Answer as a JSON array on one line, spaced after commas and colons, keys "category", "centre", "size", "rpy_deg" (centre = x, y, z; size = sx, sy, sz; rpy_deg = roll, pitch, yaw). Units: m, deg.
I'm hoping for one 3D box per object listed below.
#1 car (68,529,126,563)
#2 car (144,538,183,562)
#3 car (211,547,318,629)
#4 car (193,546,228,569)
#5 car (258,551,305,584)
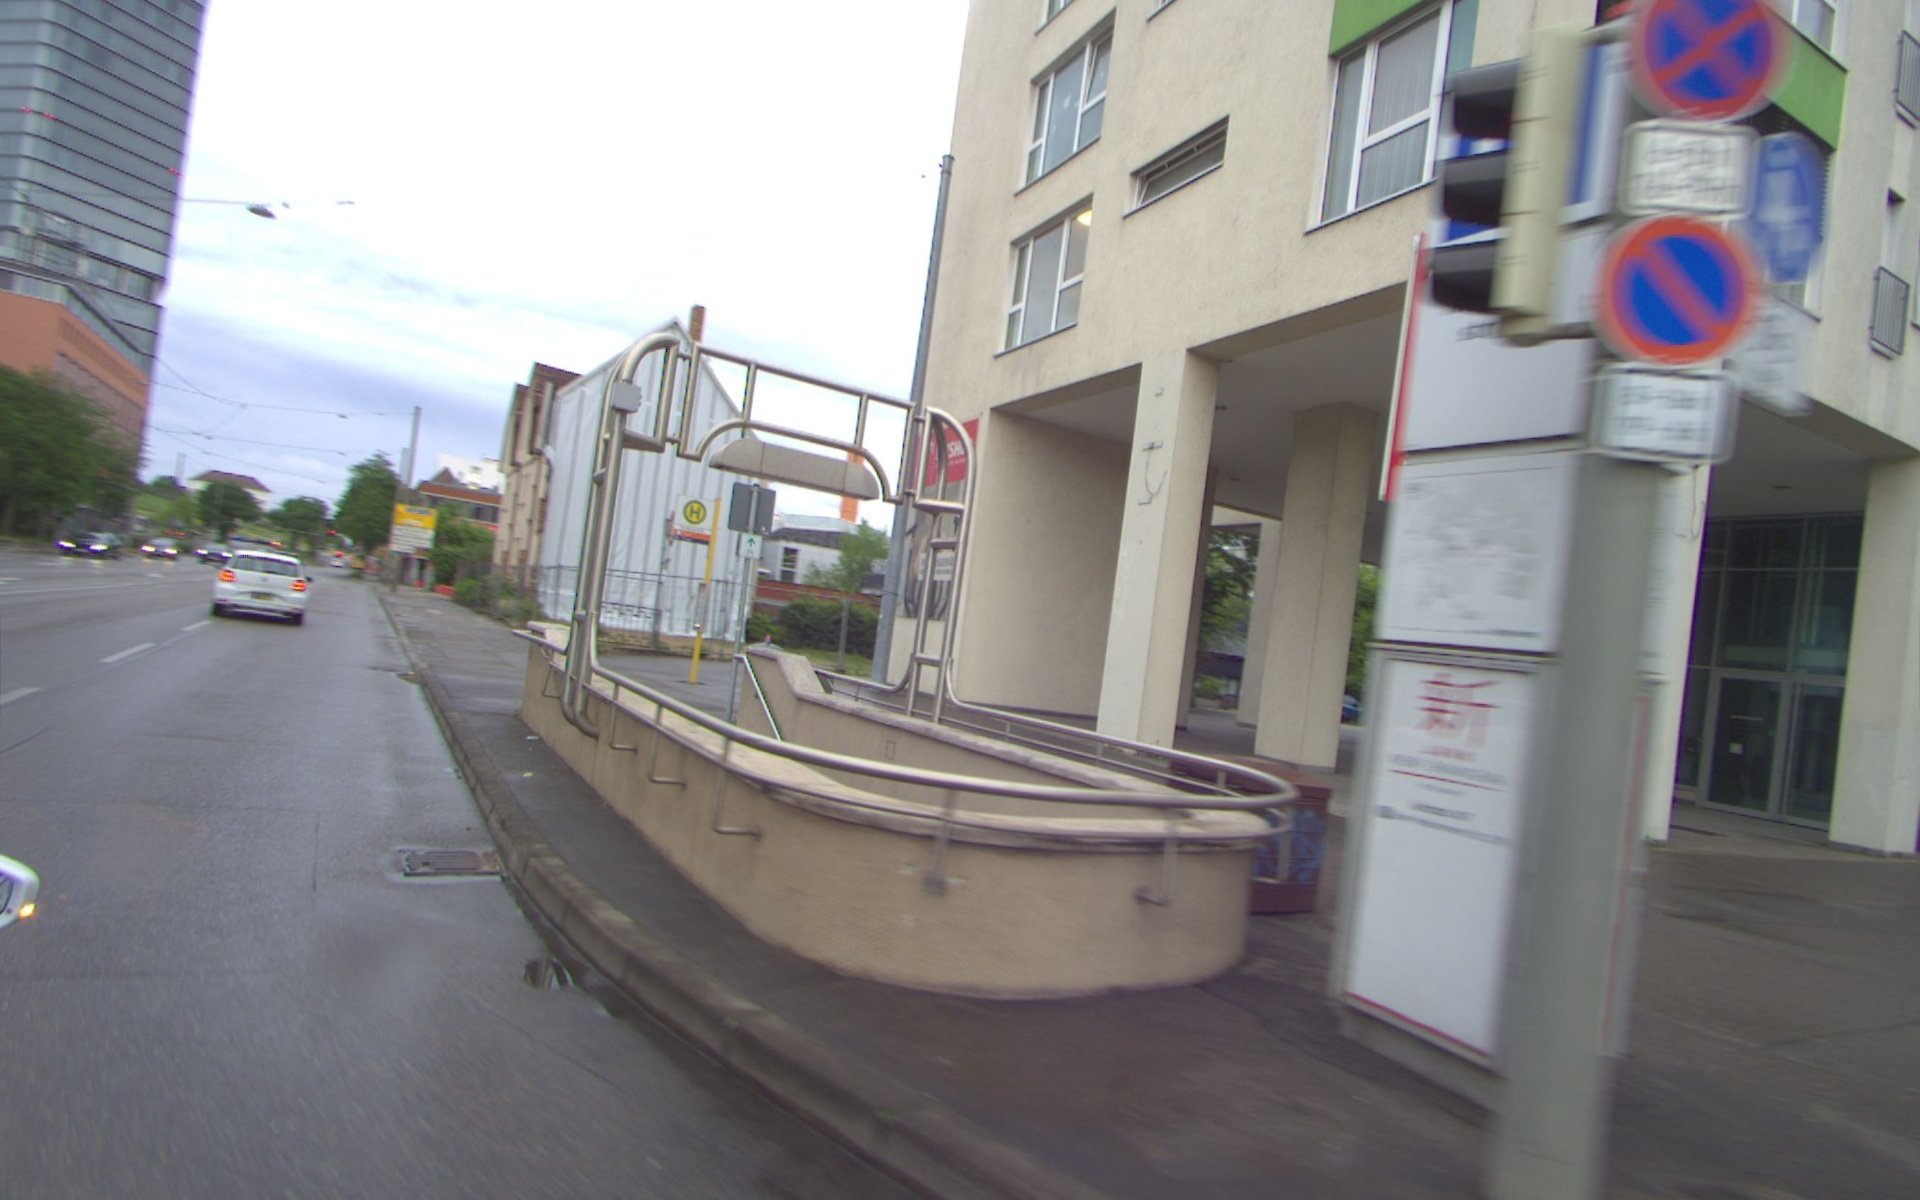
[{"category": "car", "centre": [-46.717, -2.874, 54.550], "size": [1.723, 1.493, 4.657], "rpy_deg": [8, -3, -34]}, {"category": "car", "centre": [-60.086, -3.764, 75.964], "size": [1.695, 1.585, 4.002], "rpy_deg": [6, -1, -31]}, {"category": "car", "centre": [-15.619, -0.299, 22.504], "size": [1.664, 1.490, 3.742], "rpy_deg": [10, -4, -37]}, {"category": "car", "centre": [-58.807, -3.373, 79.003], "size": [1.744, 1.575, 4.413], "rpy_deg": [6, 0, -32]}, {"category": "car", "centre": [-39.905, -1.891, 59.240], "size": [1.981, 1.591, 3.968], "rpy_deg": [9, -3, -32]}]
